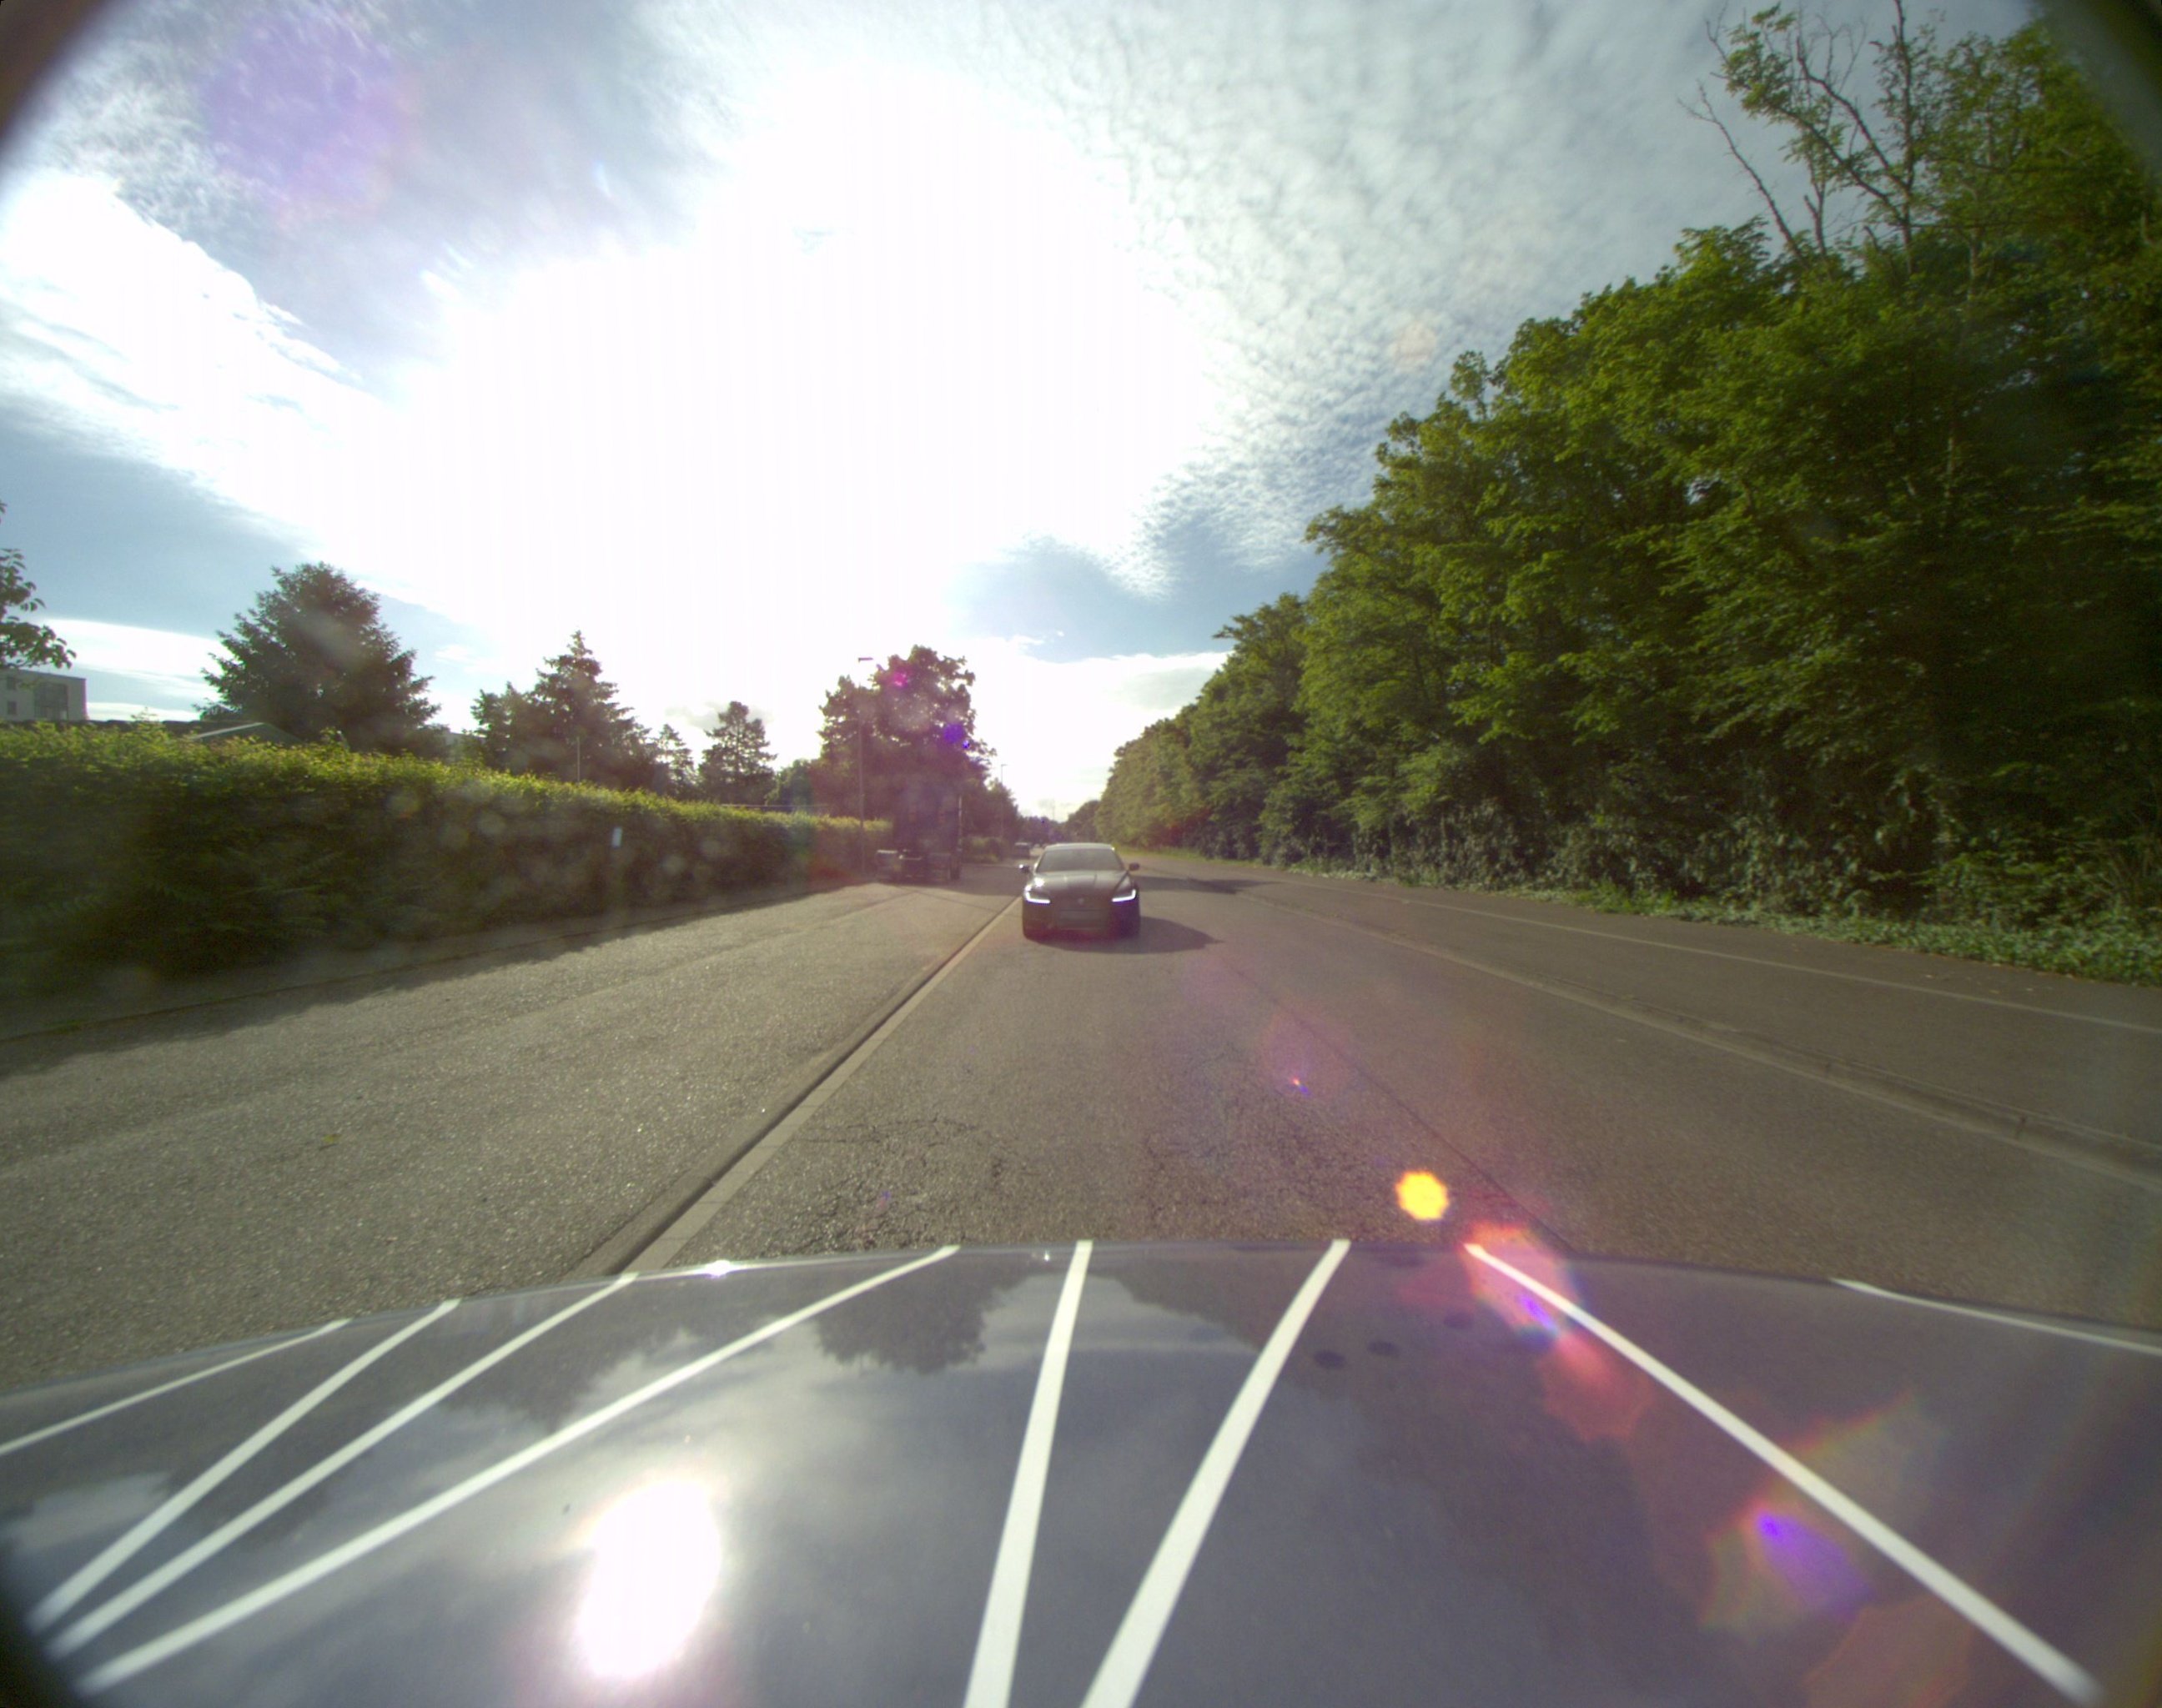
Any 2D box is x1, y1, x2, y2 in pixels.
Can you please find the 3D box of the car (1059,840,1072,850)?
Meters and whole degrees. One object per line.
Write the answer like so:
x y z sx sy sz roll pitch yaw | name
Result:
-2.390 -1.412 115.652 1.751 1.380 3.859 1 2 -3 | car

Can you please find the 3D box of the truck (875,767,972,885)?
-5.853 -1.039 29.142 2.603 3.936 6.279 2 2 -3 | truck

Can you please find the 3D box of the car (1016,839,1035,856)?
-5.482 -0.638 75.338 1.751 1.561 3.859 1 2 -3 | car

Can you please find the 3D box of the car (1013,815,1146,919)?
0.010 0.100 13.585 1.936 1.501 4.678 -1 2 1 | car
